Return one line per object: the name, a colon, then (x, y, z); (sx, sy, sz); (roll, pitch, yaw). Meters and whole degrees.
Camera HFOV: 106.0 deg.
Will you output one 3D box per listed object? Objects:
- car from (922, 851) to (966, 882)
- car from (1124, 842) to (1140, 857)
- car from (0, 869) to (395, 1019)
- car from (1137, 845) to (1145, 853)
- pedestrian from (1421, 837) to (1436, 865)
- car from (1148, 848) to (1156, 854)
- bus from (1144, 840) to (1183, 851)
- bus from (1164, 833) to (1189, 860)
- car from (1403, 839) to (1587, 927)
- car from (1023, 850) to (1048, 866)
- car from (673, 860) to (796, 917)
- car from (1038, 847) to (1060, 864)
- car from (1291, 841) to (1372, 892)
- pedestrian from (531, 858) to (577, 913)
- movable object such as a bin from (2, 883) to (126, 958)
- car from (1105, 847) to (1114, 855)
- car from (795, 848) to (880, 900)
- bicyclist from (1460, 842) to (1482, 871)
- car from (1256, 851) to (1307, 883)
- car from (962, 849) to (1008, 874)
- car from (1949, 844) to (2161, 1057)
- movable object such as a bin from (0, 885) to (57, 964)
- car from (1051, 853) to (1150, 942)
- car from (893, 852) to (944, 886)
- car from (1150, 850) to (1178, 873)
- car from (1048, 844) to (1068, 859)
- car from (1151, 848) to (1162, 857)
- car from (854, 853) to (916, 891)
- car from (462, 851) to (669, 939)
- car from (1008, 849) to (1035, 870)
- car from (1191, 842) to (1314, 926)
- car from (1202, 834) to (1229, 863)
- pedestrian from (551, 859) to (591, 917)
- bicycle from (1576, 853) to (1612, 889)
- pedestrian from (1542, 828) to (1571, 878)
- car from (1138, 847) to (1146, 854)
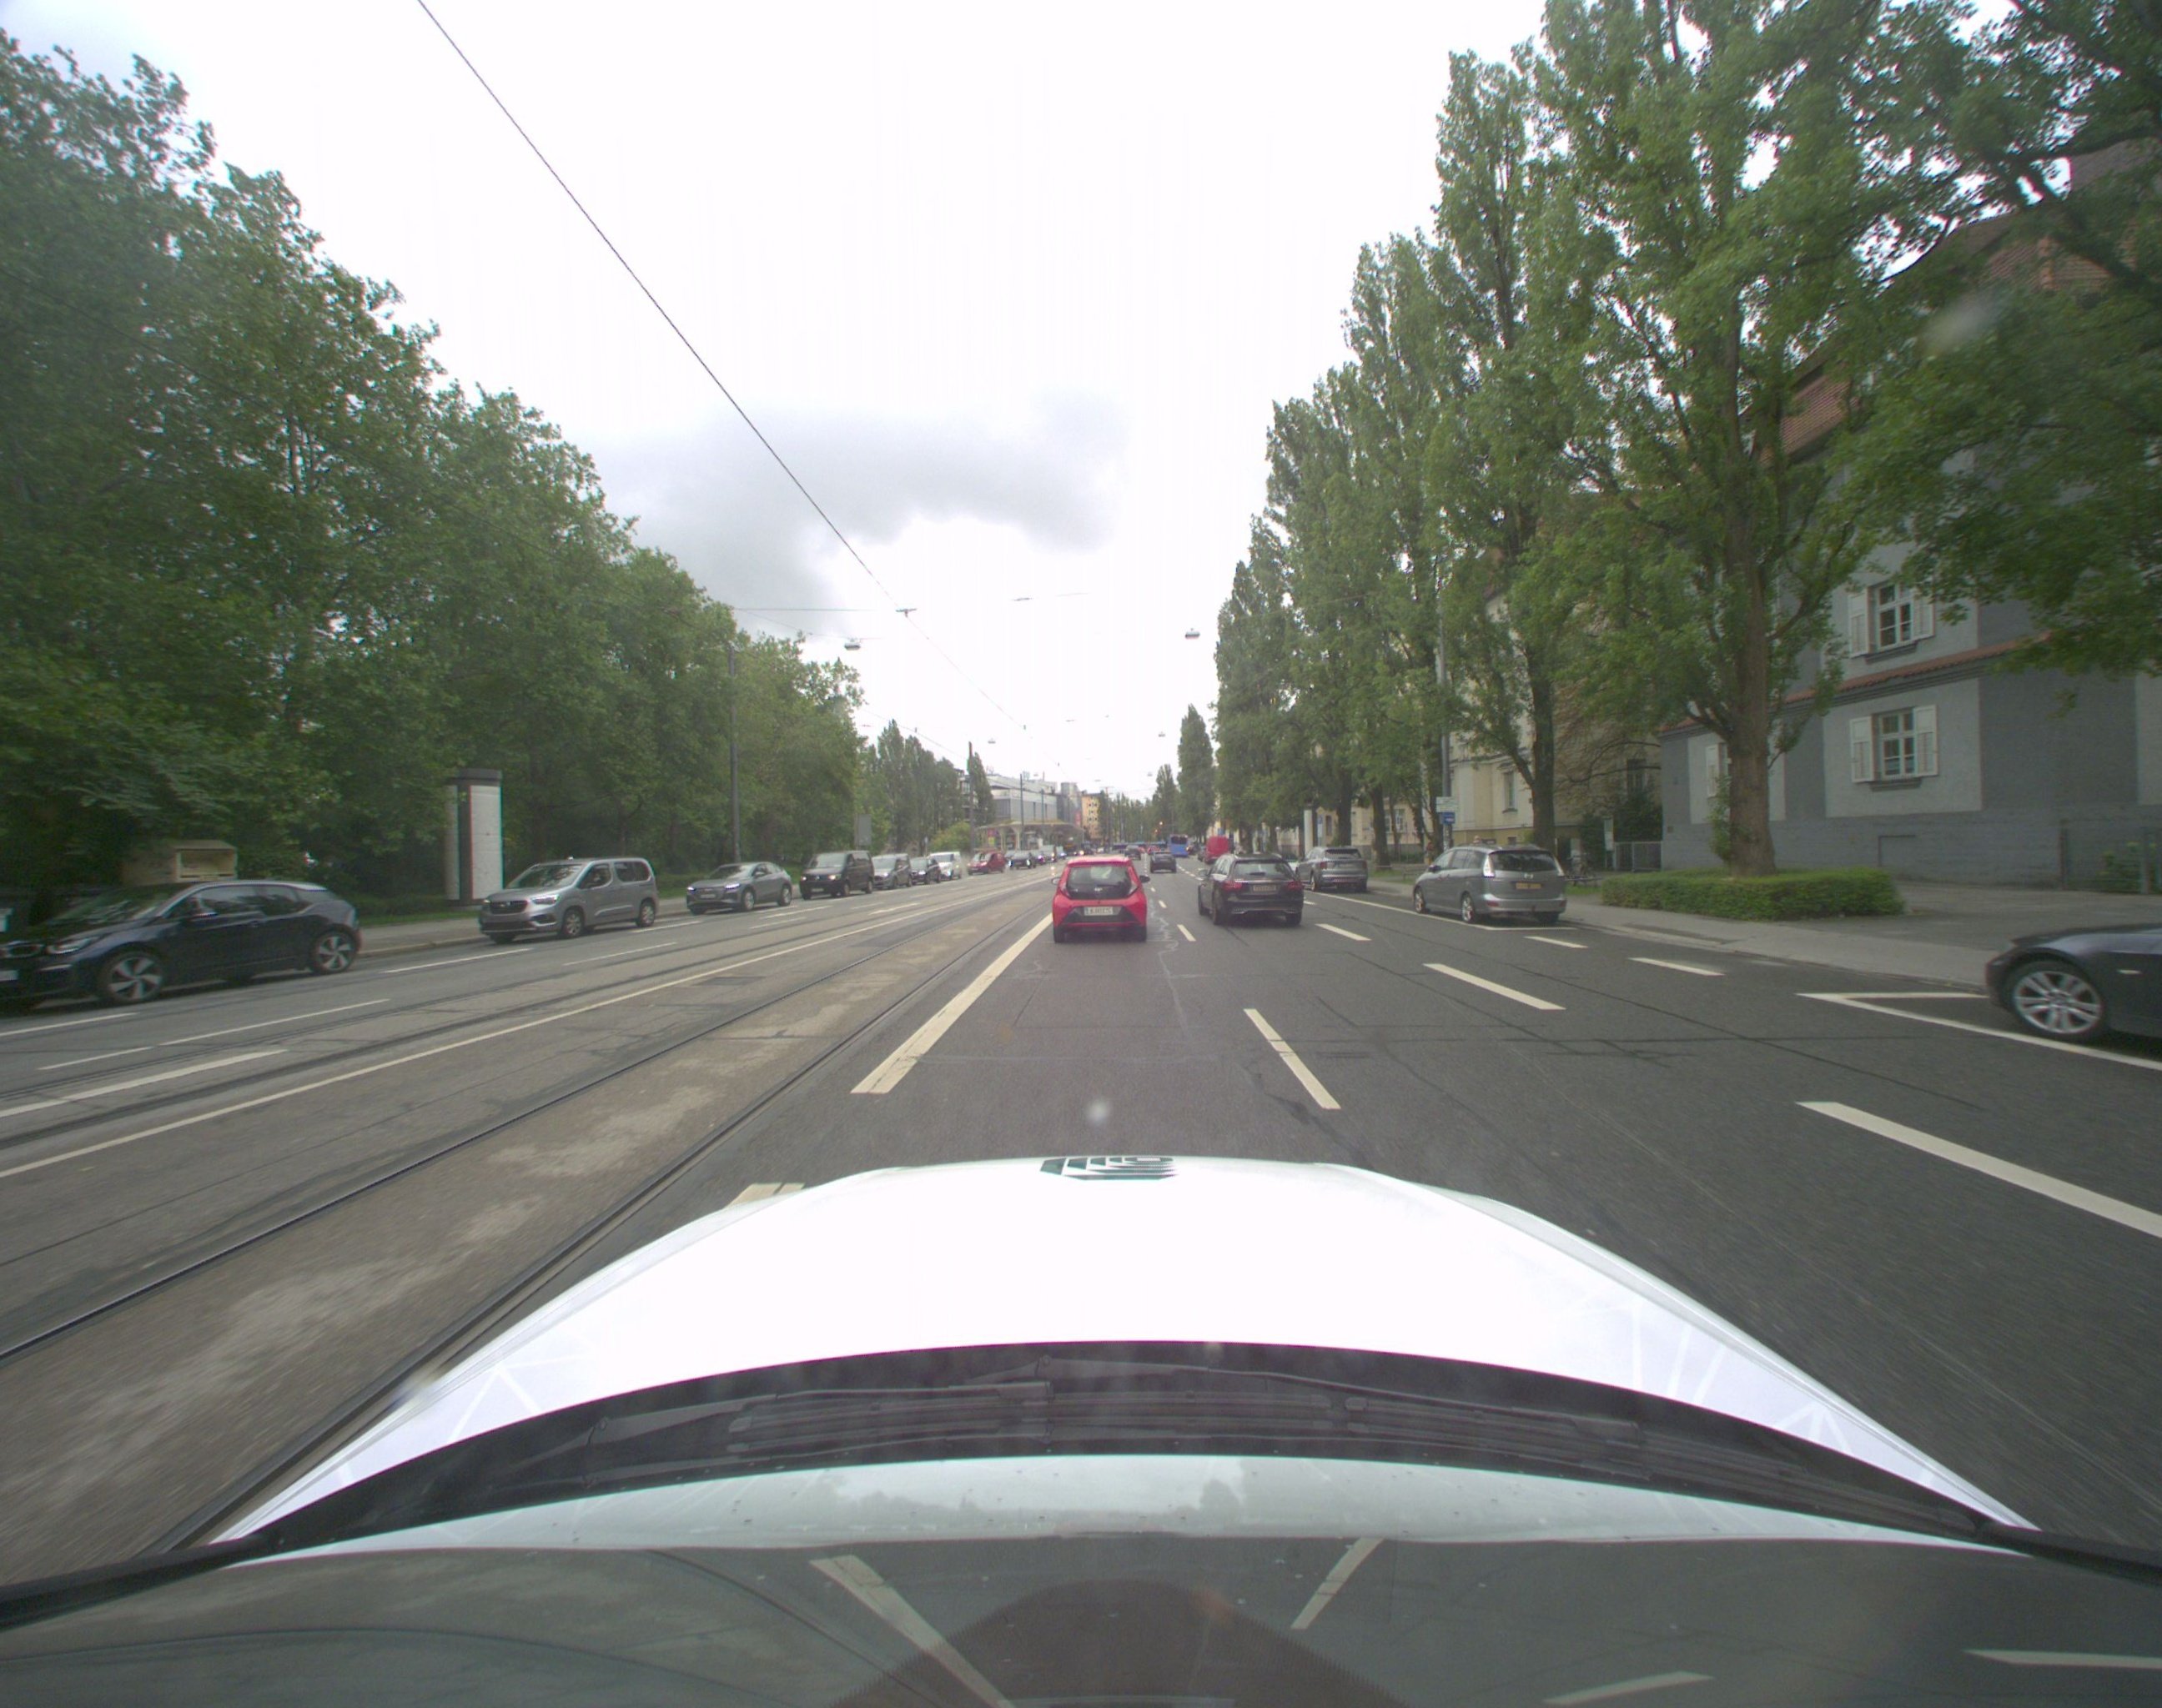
car: (-9.137, 0.811, 54.603); (1.792, 1.861, 4.634); (-4, 0, 3)
car: (5.813, -0.498, 93.347); (1.728, 1.549, 4.581); (-2, 0, 3)
car: (-12.886, 1.140, 11.911); (1.791, 1.667, 4.359); (-2, 0, 4)
car: (14.686, -1.167, 198.323); (1.794, 1.596, 4.007); (-1, -3, 7)
pedestrian: (19.904, -0.162, 46.685); (0.550, 1.547, 0.739); (-1, 2, 2)
car: (18.000, -0.861, 207.166); (1.773, 1.486, 4.004); (-2, 0, 4)
bus: (23.027, -2.438, 227.111); (10.522, 2.845, 2.000); (-1, 2, -1)
bus: (13.202, -1.154, 113.352); (2.893, 3.395, 10.818); (-1, 2, 4)
car: (8.681, 0.539, 17.586); (1.792, 1.612, 4.550); (-2, 0, 2)
car: (-4.620, 0.395, 83.315); (1.791, 1.530, 4.524); (-4, 0, 4)
car: (-11.316, 1.057, 27.005); (1.791, 1.634, 4.593); (-2, 0, 4)
car: (-3.563, 0.142, 90.759); (1.791, 1.665, 4.524); (-4, 0, 4)
car: (9.438, 0.446, 31.061); (1.792, 1.742, 4.703); (-2, 0, 2)
pedestrian: (-16.782, 0.995, 25.970); (0.659, 1.684, 0.992); (-1, 2, 12)
movable object such as a bin: (-19.933, 1.280, 16.000); (0.931, 1.353, 1.158); (1, 0, -1)
car: (6.017, -0.637, 171.154); (1.773, 1.486, 4.004); (-1, 0, 4)
car: (-10.403, 0.800, 35.248); (1.791, 1.991, 5.044); (-2, 0, 4)
bicyclist: (17.912, 0.119, 37.415); (0.657, 1.314, 0.706); (-2, 0, 1)
car: (10.085, 0.606, 41.256); (1.791, 1.508, 4.004); (-1, 0, 4)
car: (-7.537, 0.586, 64.261); (1.785, 1.788, 4.539); (-4, 0, 17)
car: (8.168, 0.654, 4.672); (1.792, 1.398, 4.384); (-2, 0, 2)
movable object such as a bin: (-19.729, 1.270, 14.714); (0.931, 1.353, 1.158); (1, 0, -1)
car: (0.359, 0.718, 15.198); (1.623, 1.440, 3.377); (0, 0, 1)
car: (-9.557, 0.838, 48.256); (1.791, 1.788, 4.523); (-4, 0, 4)
car: (5.757, 0.506, 57.006); (1.773, 1.486, 4.004); (-1, 0, 4)
car: (-2.891, -0.330, 103.720); (1.790, 1.665, 4.527); (-4, 0, 6)
car: (12.434, -0.297, 134.528); (1.773, 1.486, 4.004); (-2, 0, 4)
car: (-10.092, 0.877, 42.306); (1.791, 1.788, 4.523); (-4, 0, 4)
car: (-11.930, 0.863, 19.282); (1.791, 1.779, 4.477); (-2, 0, 4)
car: (-5.314, 0.479, 73.158); (1.792, 1.788, 4.521); (-3, 0, 2)
car: (3.606, 0.539, 18.003); (1.856, 1.549, 4.706); (-2, 1, 2)
car: (12.509, -0.561, 75.967); (1.985, 2.574, 4.685); (-1, 2, 4)
pedestrian: (-16.056, 1.058, 25.646); (0.659, 1.789, 0.821); (-1, 0, 12)
bicycle: (14.855, 0.481, 23.614); (0.353, 0.988, 1.229); (-1, 2, 4)
pedestrian: (16.947, -0.045, 29.057); (0.588, 1.738, 0.825); (-1, 2, 3)
car: (15.481, -0.886, 205.110); (1.794, 1.596, 4.007); (-1, -3, 7)
